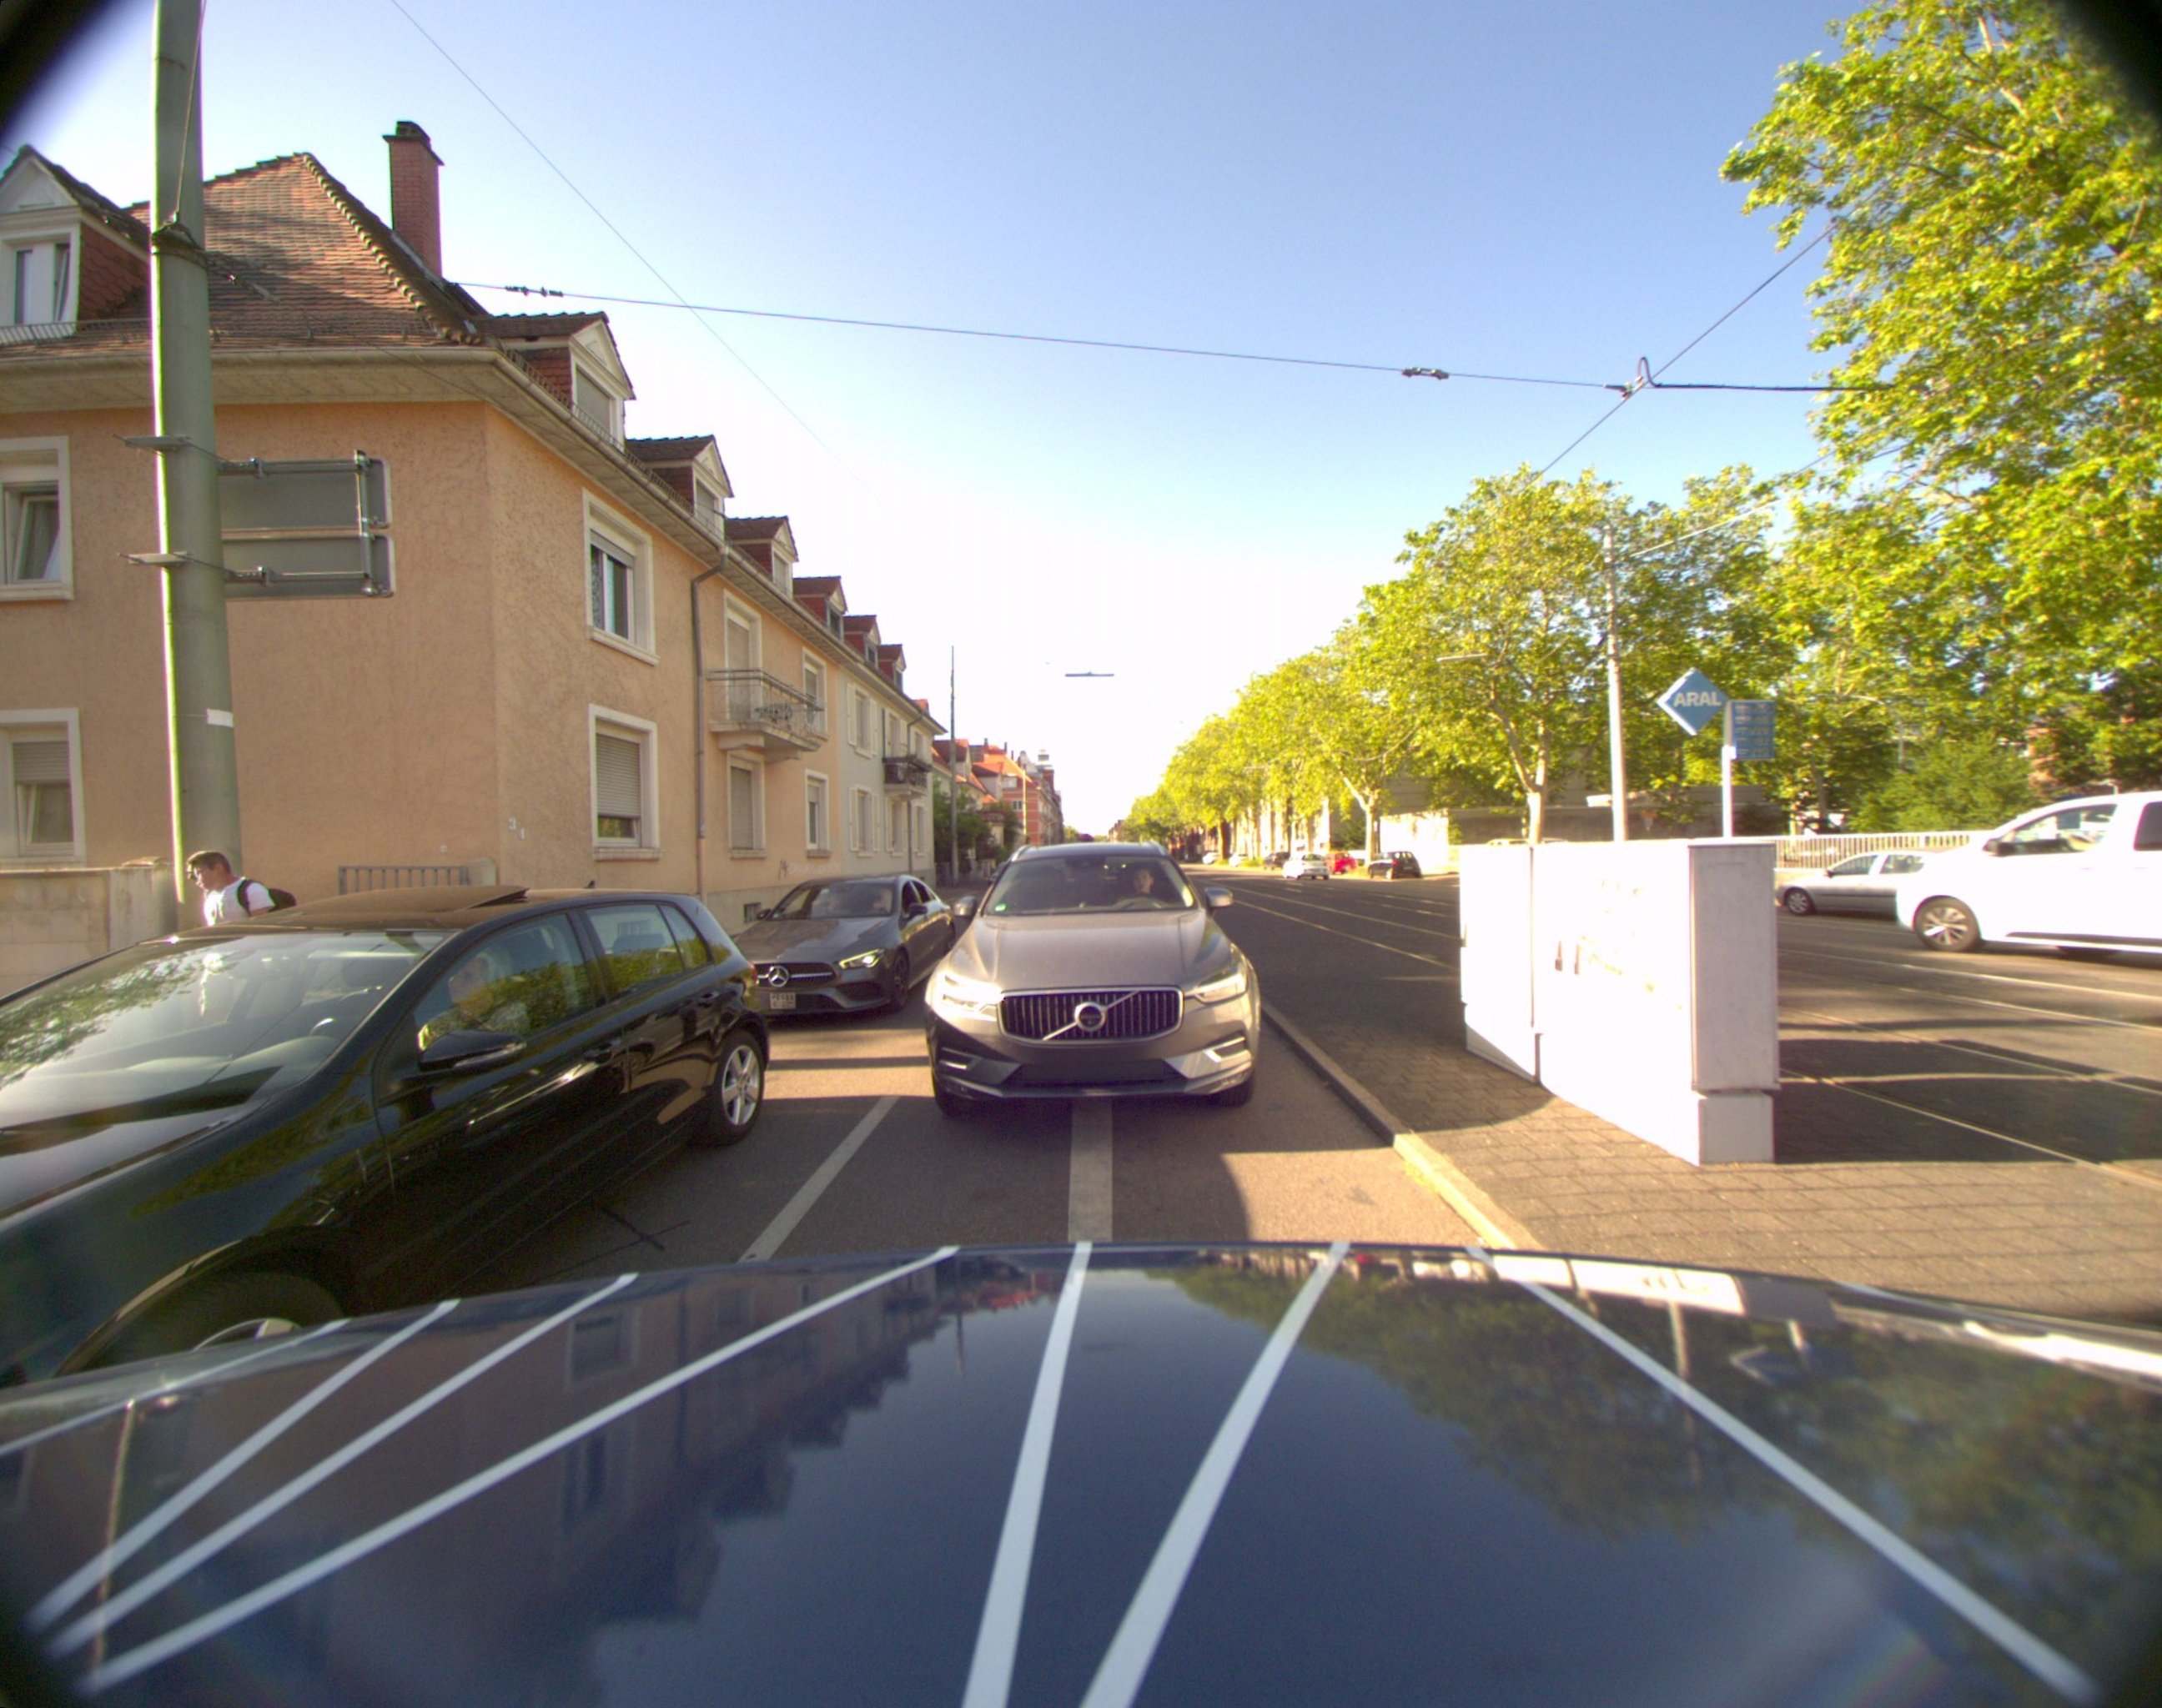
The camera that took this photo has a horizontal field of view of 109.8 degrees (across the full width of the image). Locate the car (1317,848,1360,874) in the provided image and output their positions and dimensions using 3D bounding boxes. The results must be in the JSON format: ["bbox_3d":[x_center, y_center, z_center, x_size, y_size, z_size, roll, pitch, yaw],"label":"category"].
[{"bbox_3d":[16.913,0.422,50.053,1.661,1.486,3.377,-5,1,2],"label":"car"}]

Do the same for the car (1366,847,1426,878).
[{"bbox_3d":[16.825,0.420,40.769,1.723,1.436,3.769,-5,1,2],"label":"car"}]

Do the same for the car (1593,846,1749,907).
[{"bbox_3d":[16.425,0.574,21.400,1.619,1.436,3.606,-5,1,3],"label":"car"}]

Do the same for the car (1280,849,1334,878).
[{"bbox_3d":[12.214,0.496,41.266,1.742,1.427,3.935,2,1,1],"label":"car"}]

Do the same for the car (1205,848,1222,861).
[{"bbox_3d":[17.555,0.052,100.695,1.661,1.452,3.730,-5,1,3],"label":"car"}]

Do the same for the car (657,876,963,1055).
[{"bbox_3d":[-2.721,1.044,8.884,1.825,1.422,4.490,-2,-1,1],"label":"car"}]

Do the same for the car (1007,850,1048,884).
[{"bbox_3d":[-2.916,0.671,42.405,1.825,1.701,4.334,-2,1,1],"label":"car"}]

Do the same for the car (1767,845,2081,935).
[{"bbox_3d":[16.195,0.611,14.967,1.687,1.358,3.989,-6,0,1],"label":"car"}]

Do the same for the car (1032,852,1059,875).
[{"bbox_3d":[-2.794,0.749,60.924,1.825,1.701,4.334,-2,1,1],"label":"car"}]

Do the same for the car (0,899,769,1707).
[{"bbox_3d":[-2.803,1.041,2.613,1.717,1.430,3.990,-2,1,1],"label":"car"}]

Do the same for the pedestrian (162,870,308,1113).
[{"bbox_3d":[-6.235,0.944,5.601,0.758,1.596,0.612,5,1,37],"label":"pedestrian"}]

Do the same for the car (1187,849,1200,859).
[{"bbox_3d":[18.529,0.001,125.514,1.661,1.452,3.730,-5,1,3],"label":"car"}]

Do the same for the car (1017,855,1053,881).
[{"bbox_3d":[-2.796,0.849,47.059,1.825,1.424,4.334,-2,1,1],"label":"car"}]

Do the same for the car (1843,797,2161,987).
[{"bbox_3d":[11.498,0.388,7.835,1.998,1.843,5.215,1,0,0],"label":"car"}]

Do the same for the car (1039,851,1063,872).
[{"bbox_3d":[-2.607,0.669,67.291,1.825,1.701,4.334,-2,1,1],"label":"car"}]

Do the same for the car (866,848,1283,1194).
[{"bbox_3d":[0.119,0.792,5.790,1.924,1.579,4.387,-2,1,4],"label":"car"}]

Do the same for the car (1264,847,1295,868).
[{"bbox_3d":[17.195,0.289,65.951,1.754,1.582,3.878,-5,1,3],"label":"car"}]

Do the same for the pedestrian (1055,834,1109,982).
[{"bbox_3d":[0.020,0.671,9.795,0.609,1.832,0.599,-2,1,1],"label":"pedestrian"}]

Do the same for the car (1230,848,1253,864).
[{"bbox_3d":[17.604,0.203,83.481,1.754,1.532,3.878,-5,1,3],"label":"car"}]

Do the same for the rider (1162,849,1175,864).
[{"bbox_3d":[9.252,0.261,80.630,0.727,1.639,1.103,-3,1,-41],"label":"rider"}]

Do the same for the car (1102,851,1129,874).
[{"bbox_3d":[2.601,0.619,58.160,1.851,1.640,3.999,-2,1,1],"label":"car"}]

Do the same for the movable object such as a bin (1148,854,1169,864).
[{"bbox_3d":[8.324,0.540,81.778,1.181,1.097,1.830,-3,1,-41],"label":"movable object such as a bin"}]

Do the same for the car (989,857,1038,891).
[{"bbox_3d":[-3.238,0.948,37.151,1.825,1.422,4.334,-2,1,1],"label":"car"}]
